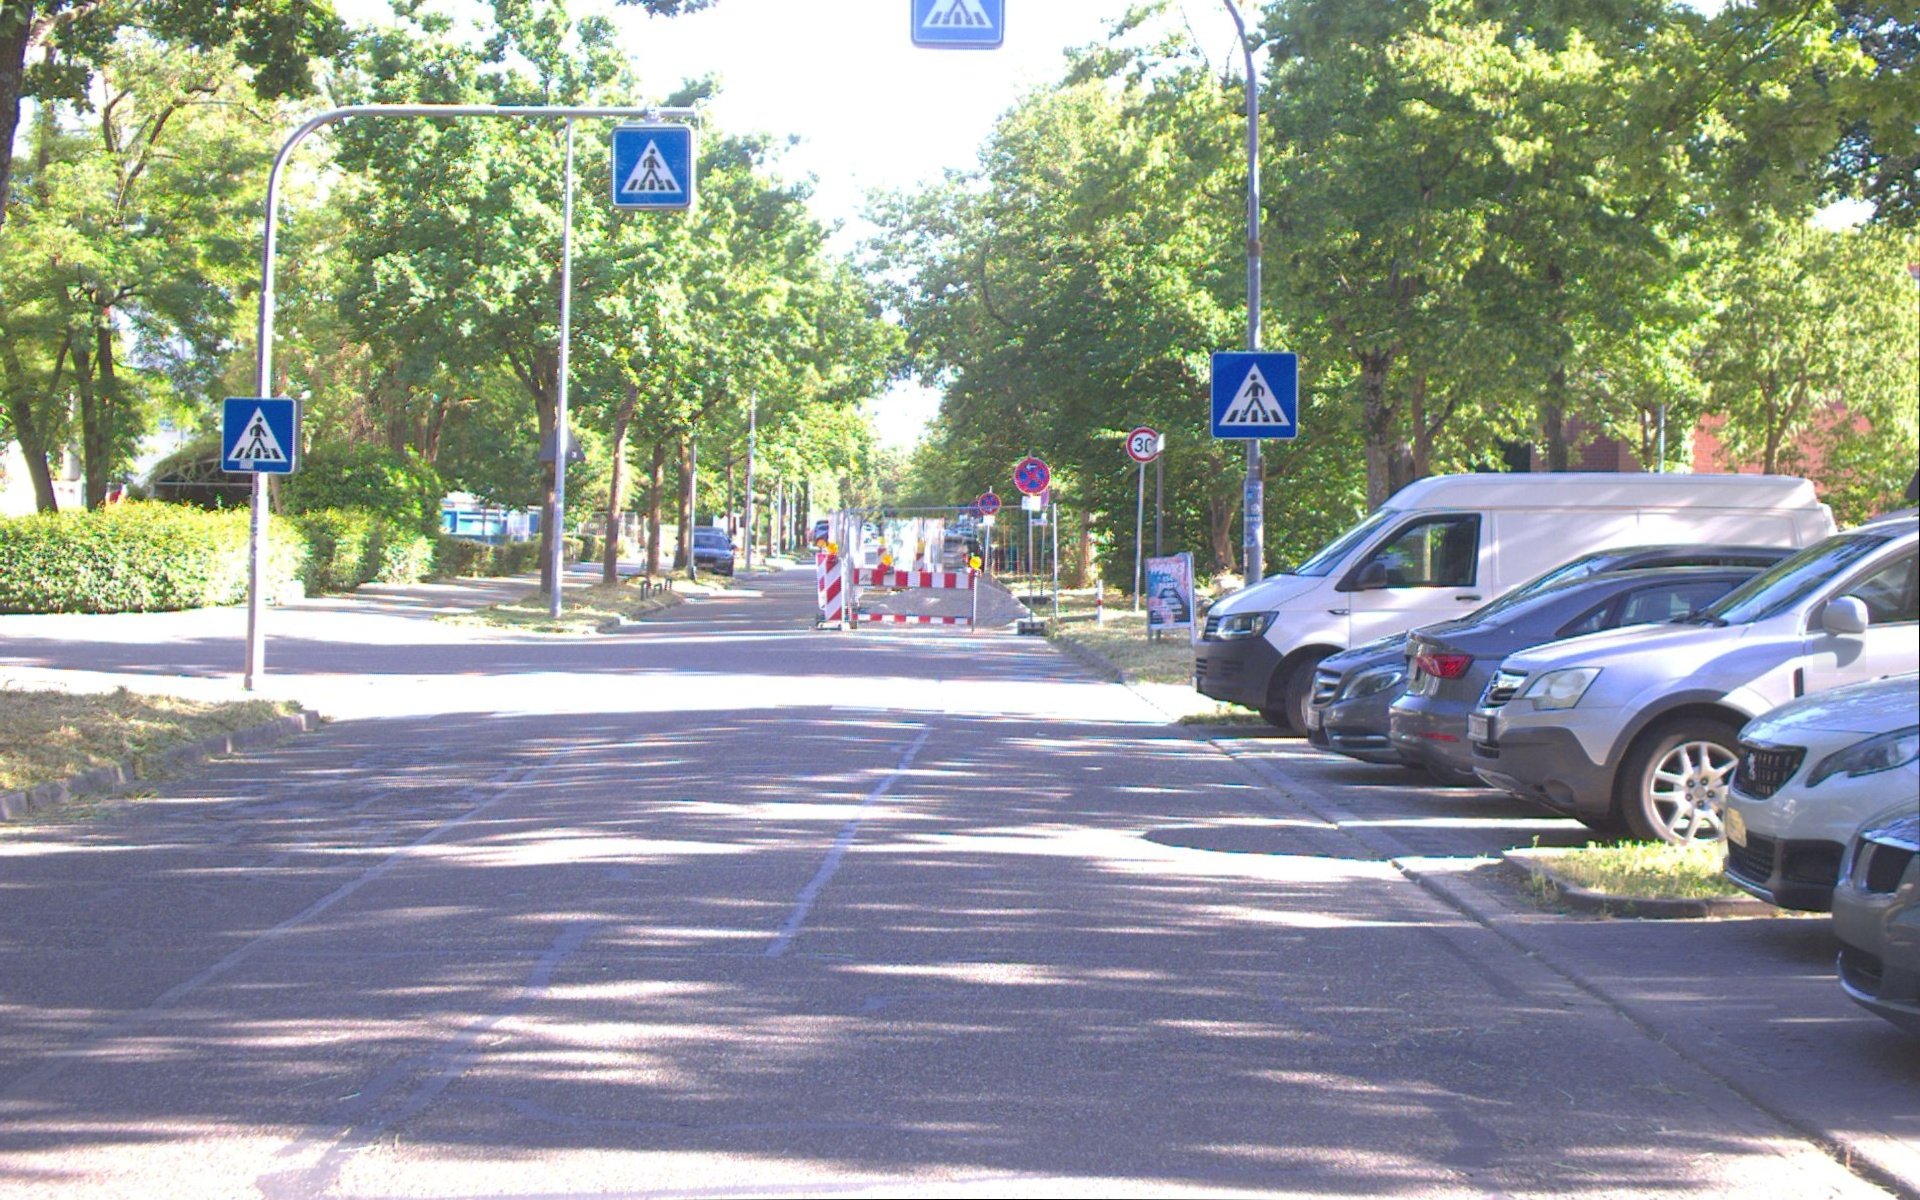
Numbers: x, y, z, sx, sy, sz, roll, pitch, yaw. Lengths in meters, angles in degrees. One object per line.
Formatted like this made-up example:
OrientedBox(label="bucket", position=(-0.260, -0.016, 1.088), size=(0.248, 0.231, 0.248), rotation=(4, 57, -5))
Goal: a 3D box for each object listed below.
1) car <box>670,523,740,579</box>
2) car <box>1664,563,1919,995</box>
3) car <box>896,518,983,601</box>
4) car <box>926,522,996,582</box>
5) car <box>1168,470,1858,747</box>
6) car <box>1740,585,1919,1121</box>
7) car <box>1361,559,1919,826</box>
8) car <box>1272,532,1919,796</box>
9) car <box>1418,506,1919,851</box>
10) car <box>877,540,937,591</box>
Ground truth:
OrientedBox(label="car", position=(-8.207, -1.569, 110.824), size=(1.993, 1.711, 4.000), rotation=(2, 1, -1))
OrientedBox(label="car", position=(4.787, 0.600, 12.919), size=(3.884, 1.492, 1.777), rotation=(-1, 1, -1))
OrientedBox(label="car", position=(-0.529, -0.988, 84.001), size=(1.993, 1.926, 4.000), rotation=(2, 1, -1))
OrientedBox(label="car", position=(0.007, -1.467, 104.647), size=(1.993, 1.711, 4.000), rotation=(2, 1, -1))
OrientedBox(label="car", position=(4.387, 0.060, 27.878), size=(5.186, 2.098, 2.083), rotation=(1, 0, -2))
OrientedBox(label="car", position=(4.719, 0.674, 9.998), size=(4.445, 1.385, 1.911), rotation=(0, 1, -1))
OrientedBox(label="car", position=(4.451, 0.515, 20.137), size=(3.987, 1.428, 1.901), rotation=(1, 1, 1))
OrientedBox(label="car", position=(4.313, 0.397, 22.789), size=(4.212, 1.563, 1.934), rotation=(2, 1, -2))
OrientedBox(label="car", position=(4.691, 0.350, 17.584), size=(4.384, 1.645, 1.851), rotation=(-1, 1, -2))
OrientedBox(label="car", position=(-1.865, -1.215, 120.395), size=(1.993, 1.711, 4.000), rotation=(2, 1, -1))
